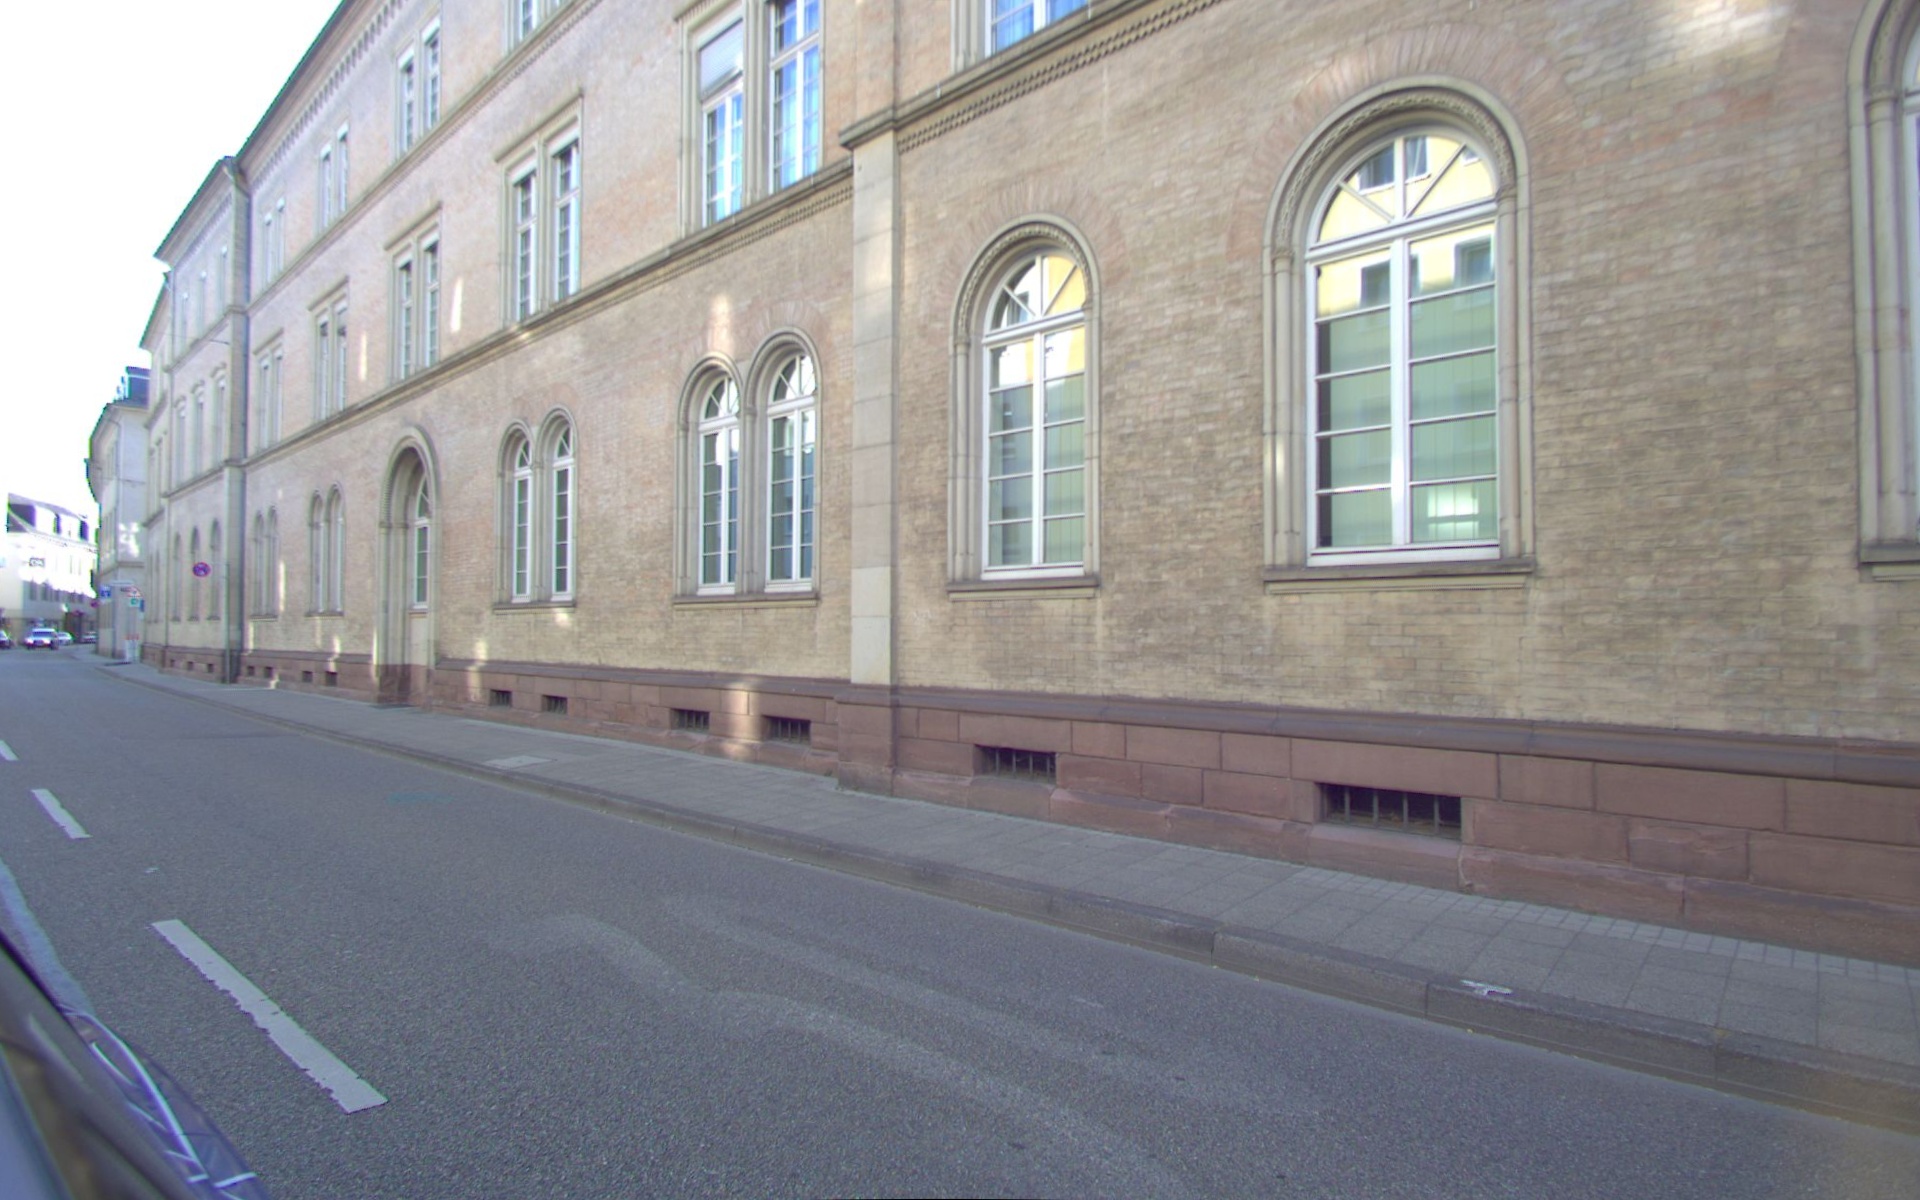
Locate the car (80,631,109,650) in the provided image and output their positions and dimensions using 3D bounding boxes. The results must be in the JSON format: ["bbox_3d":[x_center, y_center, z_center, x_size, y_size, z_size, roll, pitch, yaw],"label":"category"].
[{"bbox_3d":[-80.255,3.751,93.887,1.638,1.737,3.748,1,-2,-36],"label":"car"}]

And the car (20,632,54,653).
[{"bbox_3d":[-78.923,3.640,86.590,1.894,1.735,4.968,1,-2,-40],"label":"car"}]

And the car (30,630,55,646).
[{"bbox_3d":[-102.400,4.194,112.942,1.511,1.737,3.749,1,-2,-34],"label":"car"}]

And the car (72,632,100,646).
[{"bbox_3d":[-109.259,4.867,126.538,1.896,1.737,4.242,1,-2,-31],"label":"car"}]
